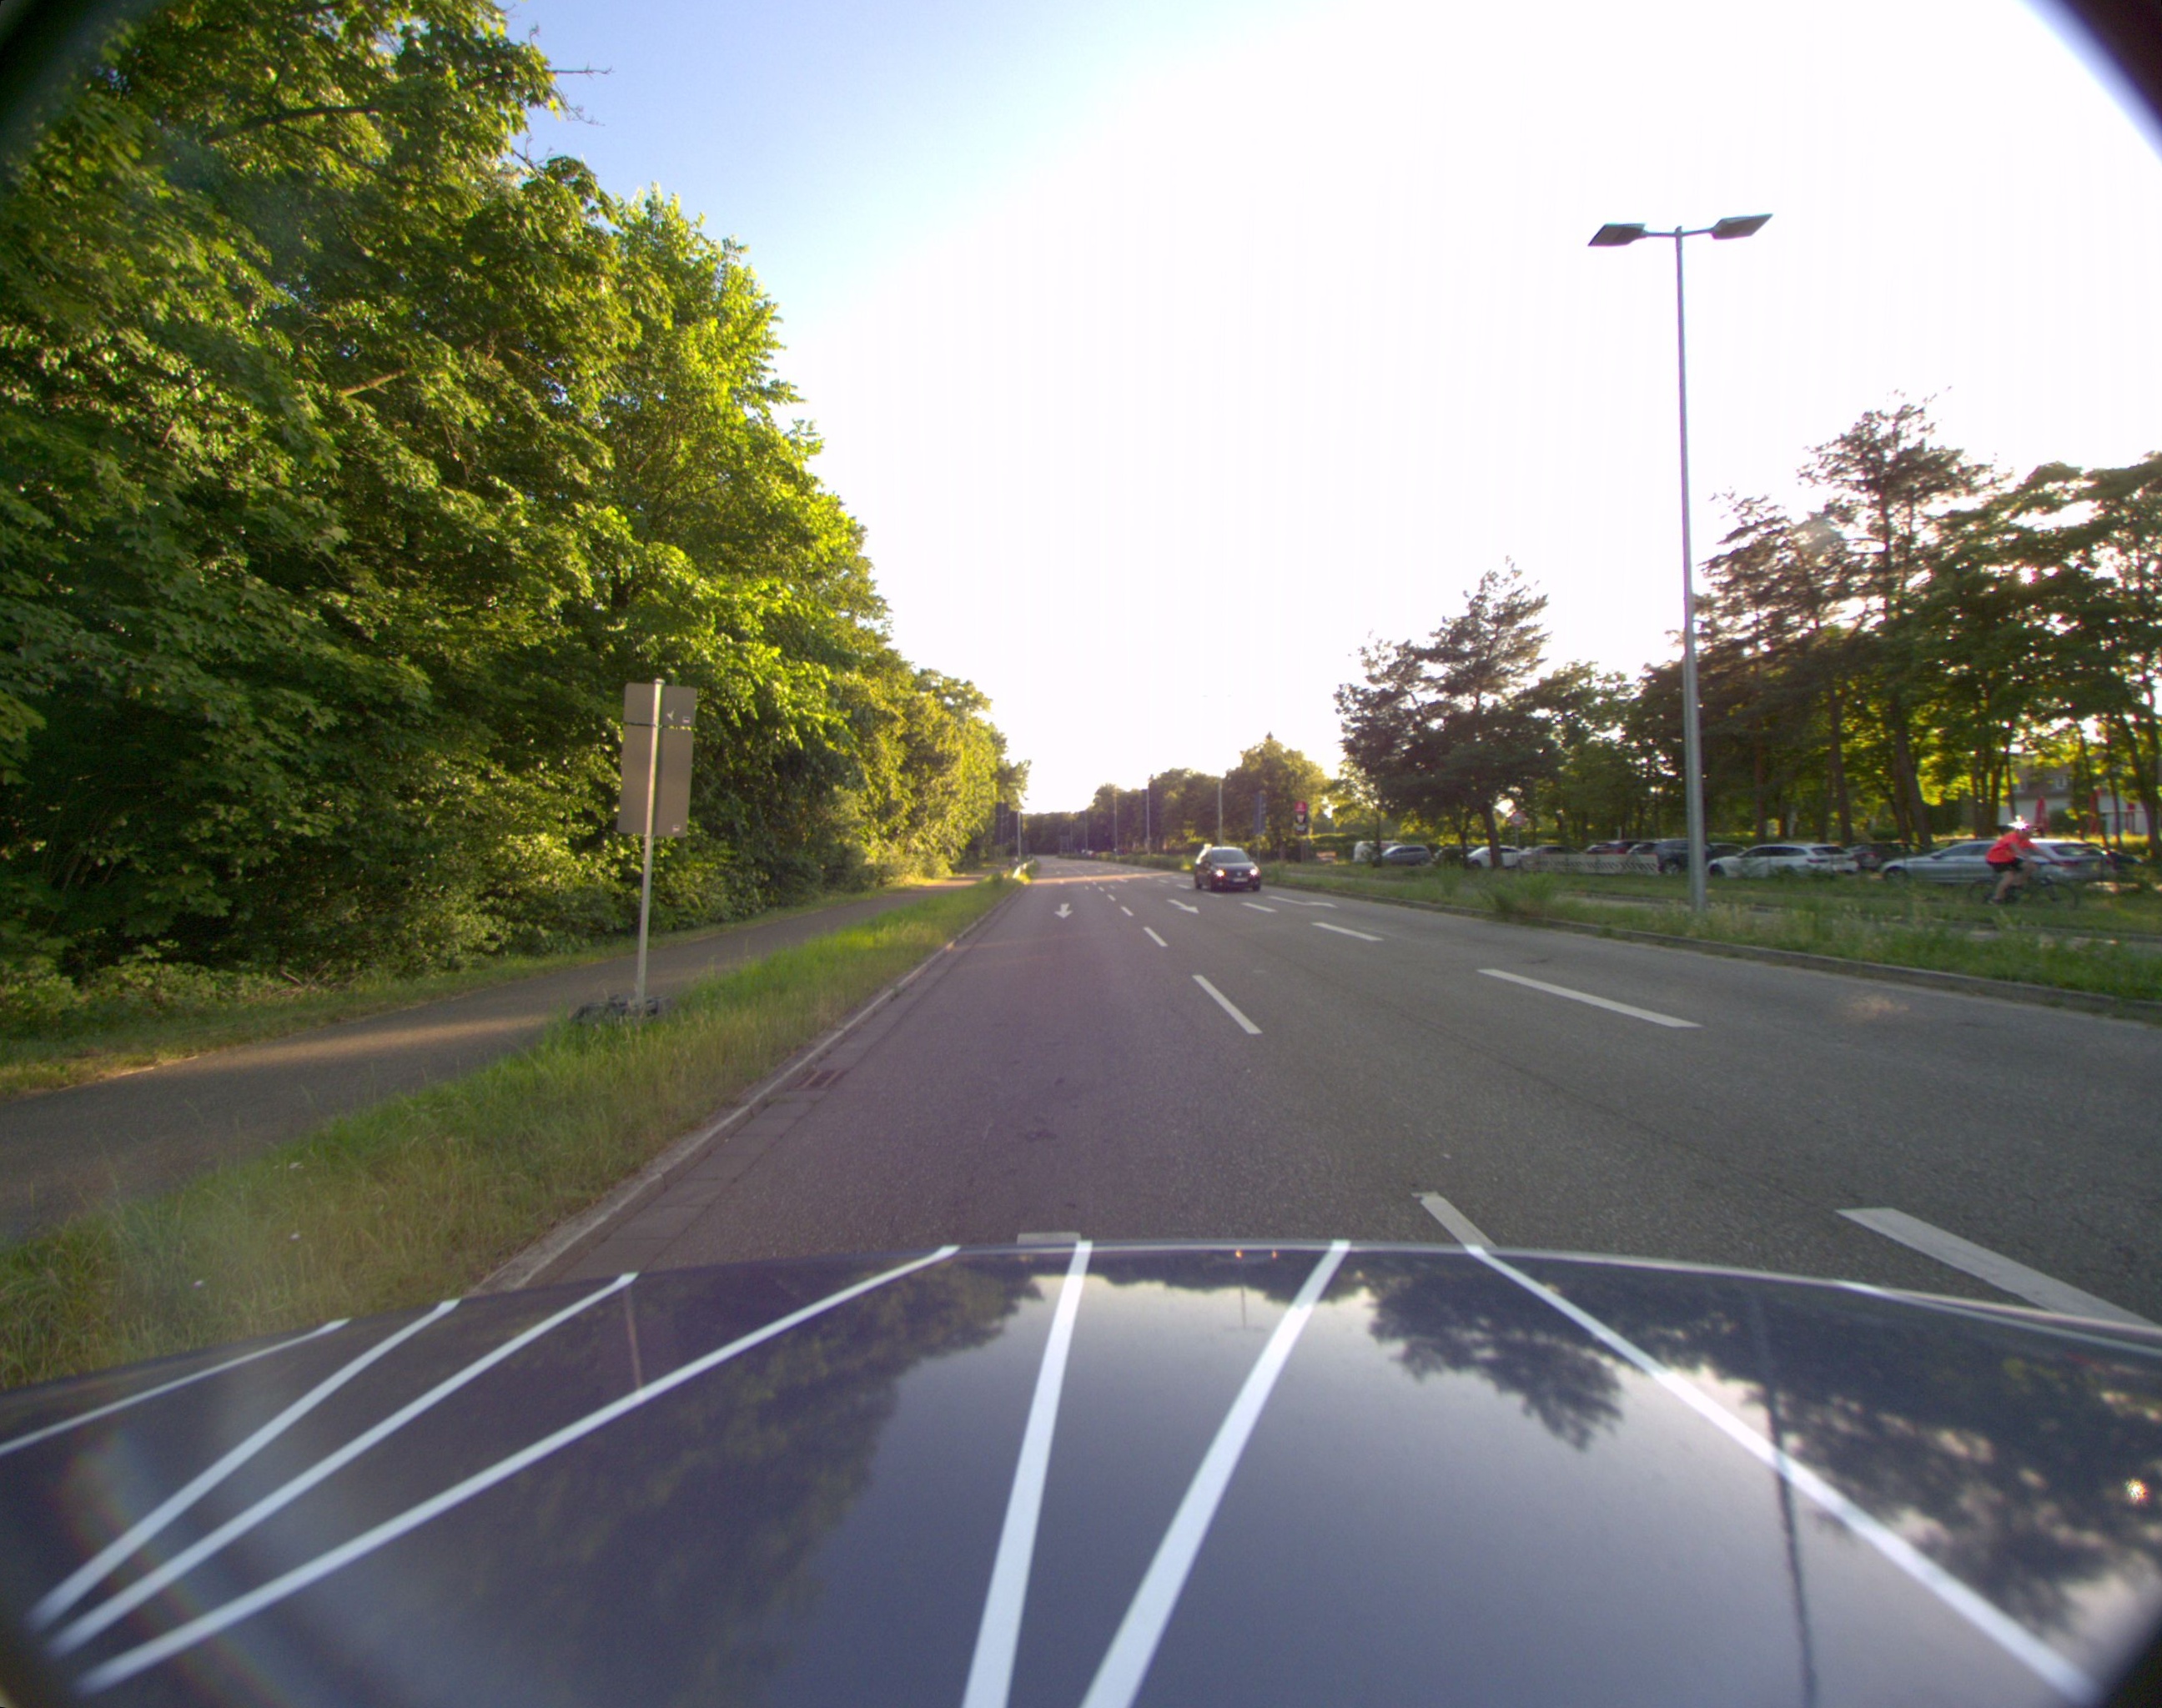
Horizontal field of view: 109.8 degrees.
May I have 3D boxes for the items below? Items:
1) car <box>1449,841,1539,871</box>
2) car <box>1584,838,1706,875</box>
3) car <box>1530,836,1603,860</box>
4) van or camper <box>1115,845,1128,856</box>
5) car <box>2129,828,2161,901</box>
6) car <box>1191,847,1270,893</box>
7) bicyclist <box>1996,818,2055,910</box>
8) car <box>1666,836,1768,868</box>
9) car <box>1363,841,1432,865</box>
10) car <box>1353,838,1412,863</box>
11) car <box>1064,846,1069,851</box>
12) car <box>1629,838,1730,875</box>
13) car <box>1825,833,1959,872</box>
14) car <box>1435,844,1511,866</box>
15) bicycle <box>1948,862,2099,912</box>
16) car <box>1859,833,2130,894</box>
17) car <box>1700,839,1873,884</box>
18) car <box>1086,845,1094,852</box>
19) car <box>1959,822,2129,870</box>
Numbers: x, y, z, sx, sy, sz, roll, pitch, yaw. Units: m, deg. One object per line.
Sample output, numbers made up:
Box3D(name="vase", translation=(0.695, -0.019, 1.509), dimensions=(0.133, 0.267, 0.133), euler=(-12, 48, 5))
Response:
Box3D(name="car", translation=(25.169, 0.127, 46.402), dimensions=(4.497, 1.743, 1.909), euler=(-1, 1, -1))
Box3D(name="car", translation=(26.478, 0.107, 35.774), dimensions=(4.525, 1.608, 1.771), euler=(-1, 1, -3))
Box3D(name="car", translation=(34.121, -0.405, 53.479), dimensions=(3.997, 1.641, 1.766), euler=(-1, 1, -1))
Box3D(name="van or camper", translation=(7.942, -0.680, 149.009), dimensions=(1.999, 2.002, 4.575), euler=(-1, 1, -5))
Box3D(name="car", translation=(27.108, 0.255, 16.415), dimensions=(1.999, 1.776, 4.920), euler=(-1, 1, -4))
Box3D(name="car", translation=(5.312, 0.527, 27.537), dimensions=(1.999, 1.543, 3.999), euler=(-1, 0, -1))
Box3D(name="bicyclist", translation=(19.581, 0.195, 15.762), dimensions=(0.459, 1.863, 0.617), euler=(-1, 1, -6))
Box3D(name="car", translation=(34.080, -0.124, 40.798), dimensions=(3.997, 1.641, 1.766), euler=(-1, 1, -1))
Box3D(name="car", translation=(24.157, -0.102, 58.025), dimensions=(4.498, 1.787, 1.909), euler=(-1, 1, -2))
Box3D(name="car", translation=(24.206, -0.255, 61.064), dimensions=(3.998, 1.933, 1.766), euler=(-1, 1, -2))
Box3D(name="car", translation=(-4.848, -1.814, 253.721), dimensions=(1.760, 1.532, 3.998), euler=(-3, 1, -4))
Box3D(name="car", translation=(25.775, 0.088, 32.781), dimensions=(3.099, 1.518, 1.659), euler=(-1, 1, -2))
Box3D(name="car", translation=(35.421, -0.076, 33.243), dimensions=(3.997, 1.641, 1.766), euler=(-1, 1, -1))
Box3D(name="car", translation=(25.044, 0.057, 48.653), dimensions=(3.997, 1.304, 1.732), euler=(-1, 1, -1))
Box3D(name="bicycle", translation=(19.586, 0.654, 15.866), dimensions=(0.493, 0.928, 2.043), euler=(-1, 1, -6))
Box3D(name="car", translation=(26.776, 0.243, 22.623), dimensions=(1.999, 1.597, 4.920), euler=(-1, 1, -4))
Box3D(name="car", translation=(26.421, 0.254, 28.732), dimensions=(1.999, 1.539, 4.708), euler=(-1, 1, -4))
Box3D(name="car", translation=(2.368, -1.477, 199.675), dimensions=(1.760, 1.532, 3.998), euler=(-3, 1, -2))
Box3D(name="car", translation=(34.981, -0.290, 27.687), dimensions=(3.997, 1.641, 1.766), euler=(-1, 1, -1))
